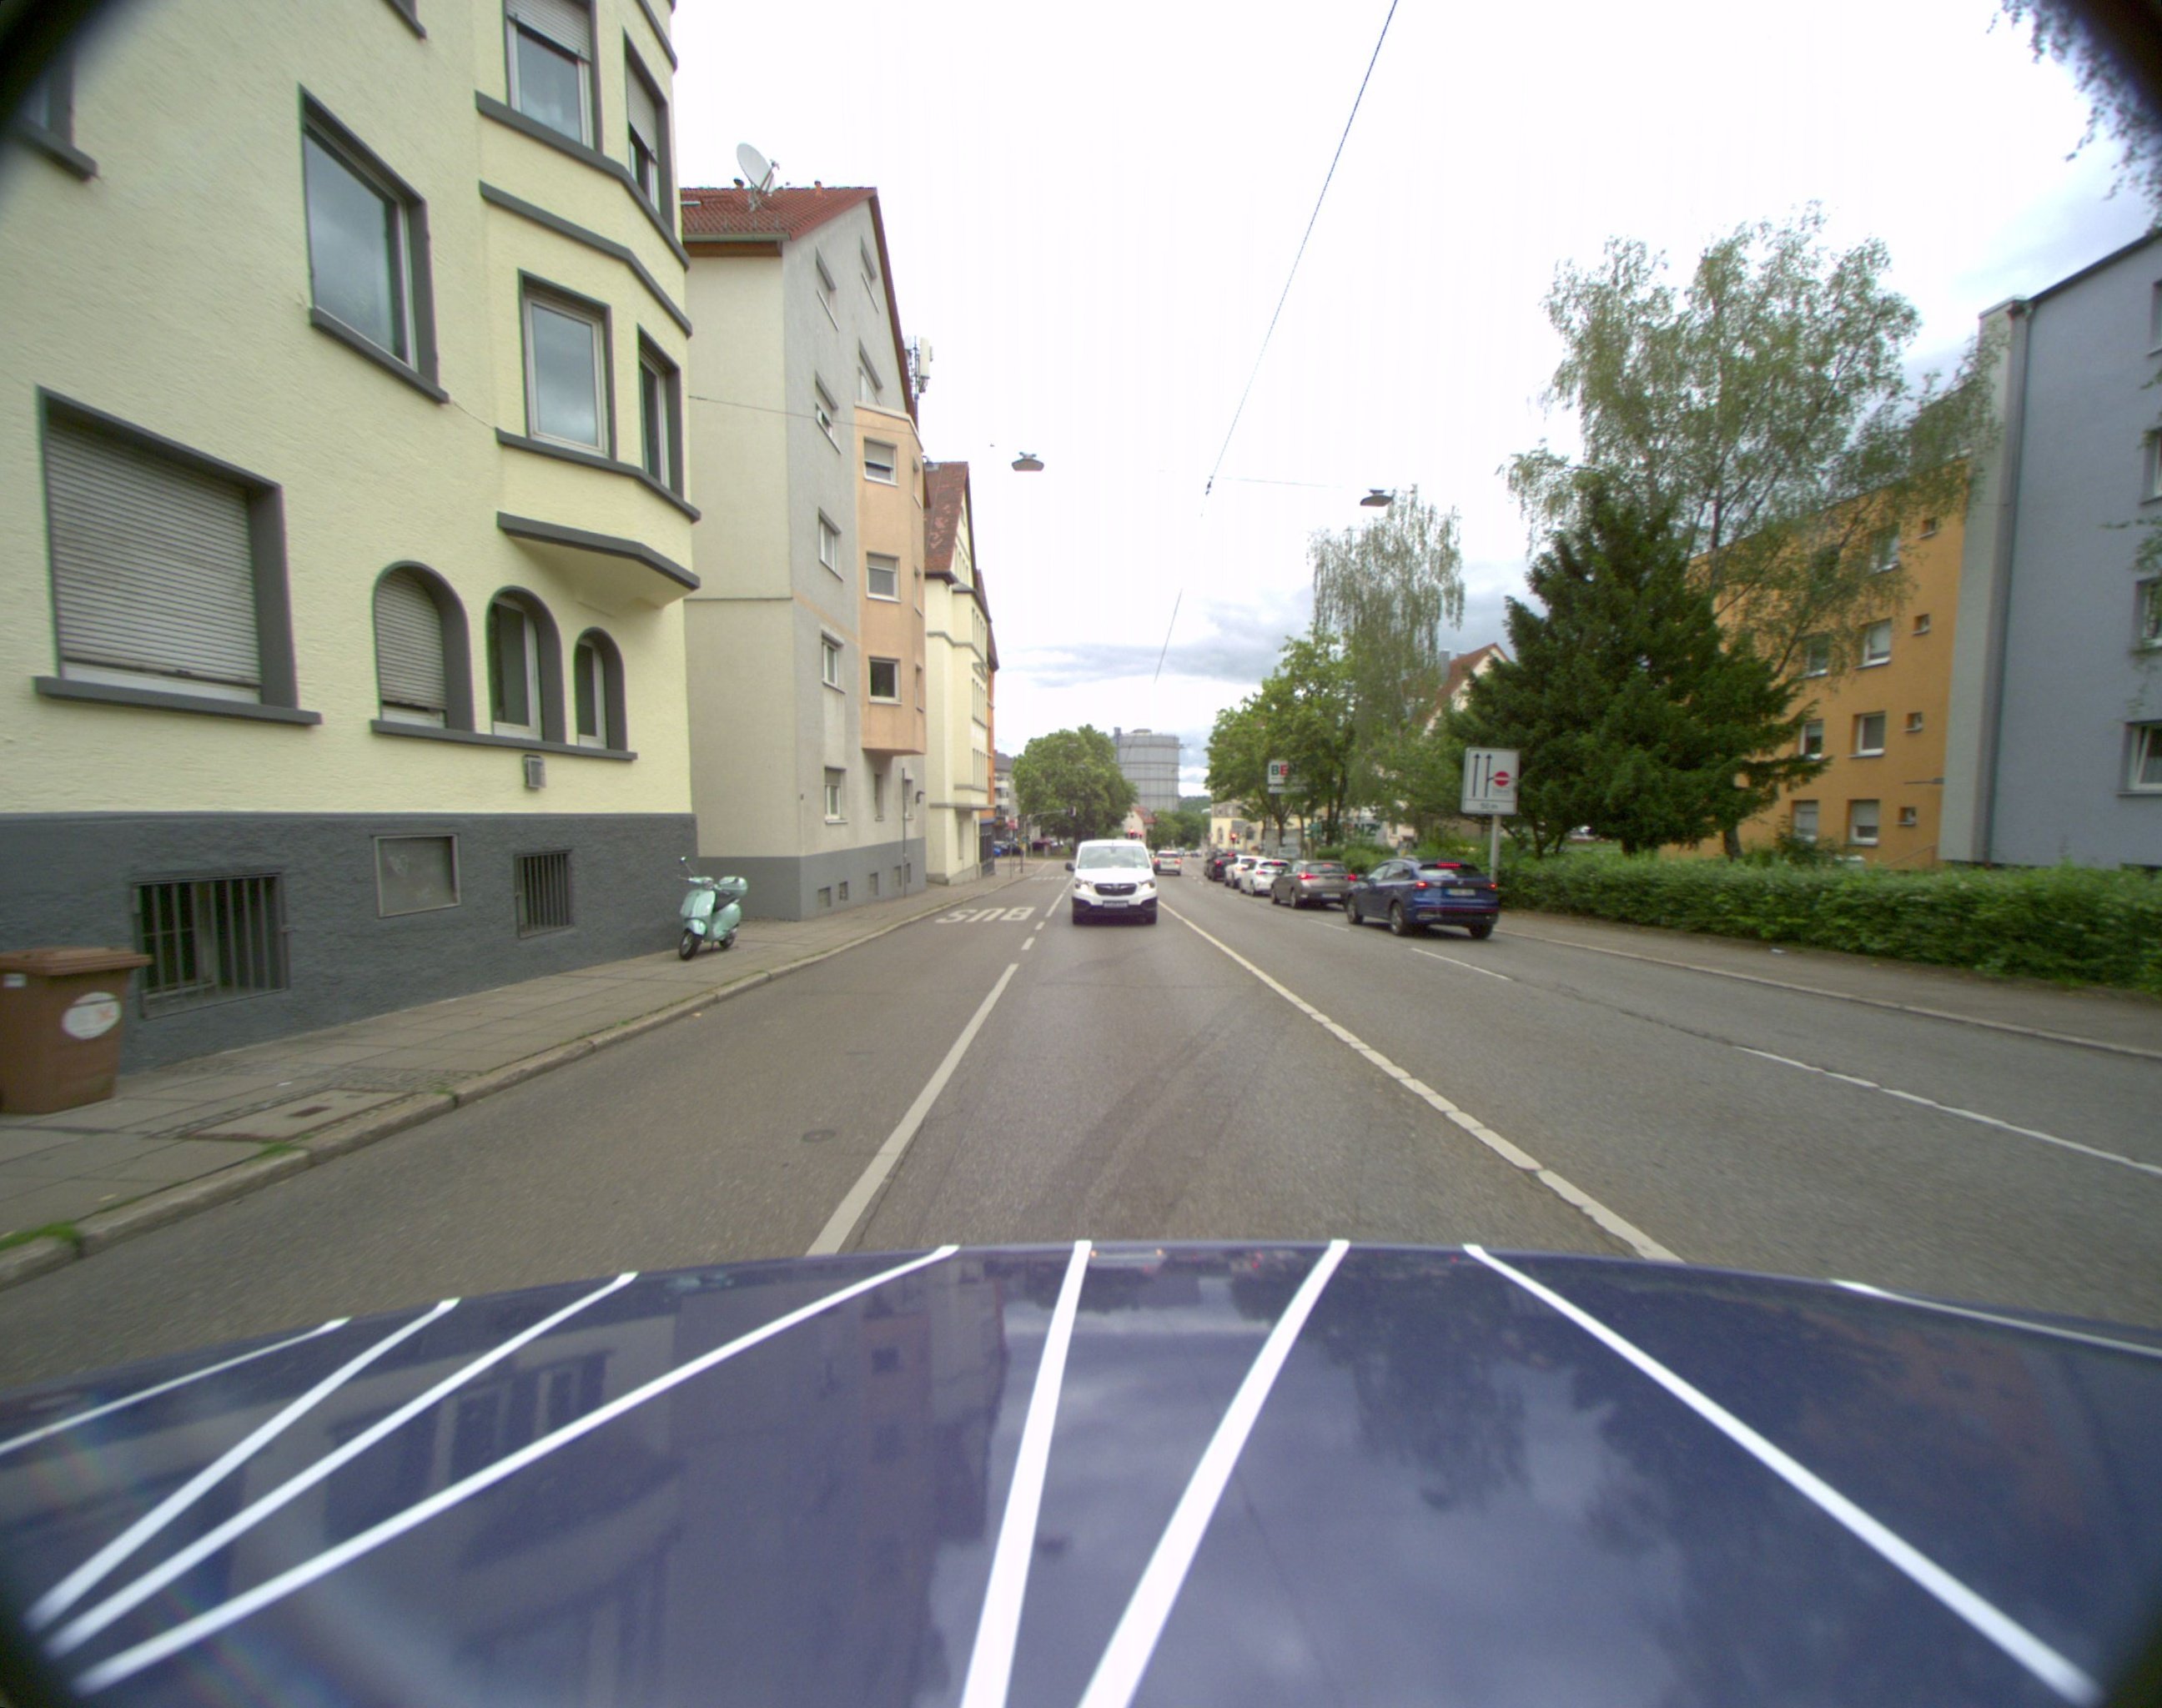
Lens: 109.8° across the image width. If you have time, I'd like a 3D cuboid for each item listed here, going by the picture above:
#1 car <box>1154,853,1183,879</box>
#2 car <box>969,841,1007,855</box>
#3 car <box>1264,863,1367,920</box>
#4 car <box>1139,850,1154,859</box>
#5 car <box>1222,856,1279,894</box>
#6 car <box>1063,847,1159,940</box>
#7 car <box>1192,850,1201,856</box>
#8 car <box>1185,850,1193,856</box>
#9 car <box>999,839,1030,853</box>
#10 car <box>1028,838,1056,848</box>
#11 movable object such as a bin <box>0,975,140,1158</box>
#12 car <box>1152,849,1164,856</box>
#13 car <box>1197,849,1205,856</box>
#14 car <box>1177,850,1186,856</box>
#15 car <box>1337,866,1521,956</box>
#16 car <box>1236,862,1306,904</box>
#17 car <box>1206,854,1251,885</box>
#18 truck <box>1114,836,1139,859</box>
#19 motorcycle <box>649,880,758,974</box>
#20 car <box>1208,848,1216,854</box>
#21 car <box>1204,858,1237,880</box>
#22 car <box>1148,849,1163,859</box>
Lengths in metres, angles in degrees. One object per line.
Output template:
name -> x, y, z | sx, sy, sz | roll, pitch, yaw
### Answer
car -> 5.765, 0.740, 50.390 | 1.779, 1.538, 4.326 | 2, 1, 5
car -> -11.152, -0.718, 91.401 | 4.255, 1.568, 1.829 | 2, 1, 2
car -> 7.025, 1.062, 23.235 | 1.843, 1.439, 4.311 | 1, 1, 1
car -> 12.018, 0.100, 138.872 | 1.996, 1.620, 4.413 | -1, 1, 13
car -> 8.043, 0.972, 36.441 | 1.956, 1.584, 4.498 | 2, 1, 3
car -> 0.671, 0.771, 17.475 | 1.888, 1.827, 4.677 | -1, 0, 2
car -> 28.745, -0.357, 189.159 | 1.757, 1.439, 3.755 | -1, 1, 14
car -> 32.513, -0.318, 229.673 | 1.996, 1.590, 4.004 | -2, 0, 13
car -> -8.859, -1.008, 101.416 | 1.823, 1.599, 4.178 | 8, 4, 34
car -> -6.093, -1.688, 119.283 | 4.007, 1.496, 1.858 | -1, 2, -36
movable object such as a bin -> -5.945, 1.184, 4.342 | 0.476, 0.887, 0.516 | 2, 1, 0
car -> 17.078, -0.350, 167.899 | 1.996, 1.590, 4.004 | -2, 0, 13
car -> 34.302, -0.359, 217.259 | 1.868, 1.873, 4.288 | 2, 1, 10
car -> 28.827, -0.388, 217.413 | 1.996, 1.590, 4.004 | -2, 0, 13
car -> 6.862, 1.040, 15.558 | 1.843, 1.439, 4.311 | 1, 1, 1
car -> 7.454, 1.102, 30.125 | 1.843, 1.404, 4.074 | 2, 1, 2
car -> 8.388, 0.843, 43.595 | 1.955, 1.633, 4.414 | 2, 1, 4
truck -> 7.445, -1.101, 122.221 | 2.769, 3.482, 8.177 | -1, 1, 12
motorcycle -> -5.499, 1.017, 11.232 | 0.539, 1.149, 2.226 | 2, 0, -2
car -> 39.717, -0.866, 230.629 | 1.996, 1.590, 4.004 | -2, 0, 13
car -> 9.147, 0.951, 50.059 | 1.805, 1.274, 4.238 | 2, 1, 6
car -> 14.317, 0.002, 145.670 | 1.996, 1.620, 4.414 | -1, 1, 17
